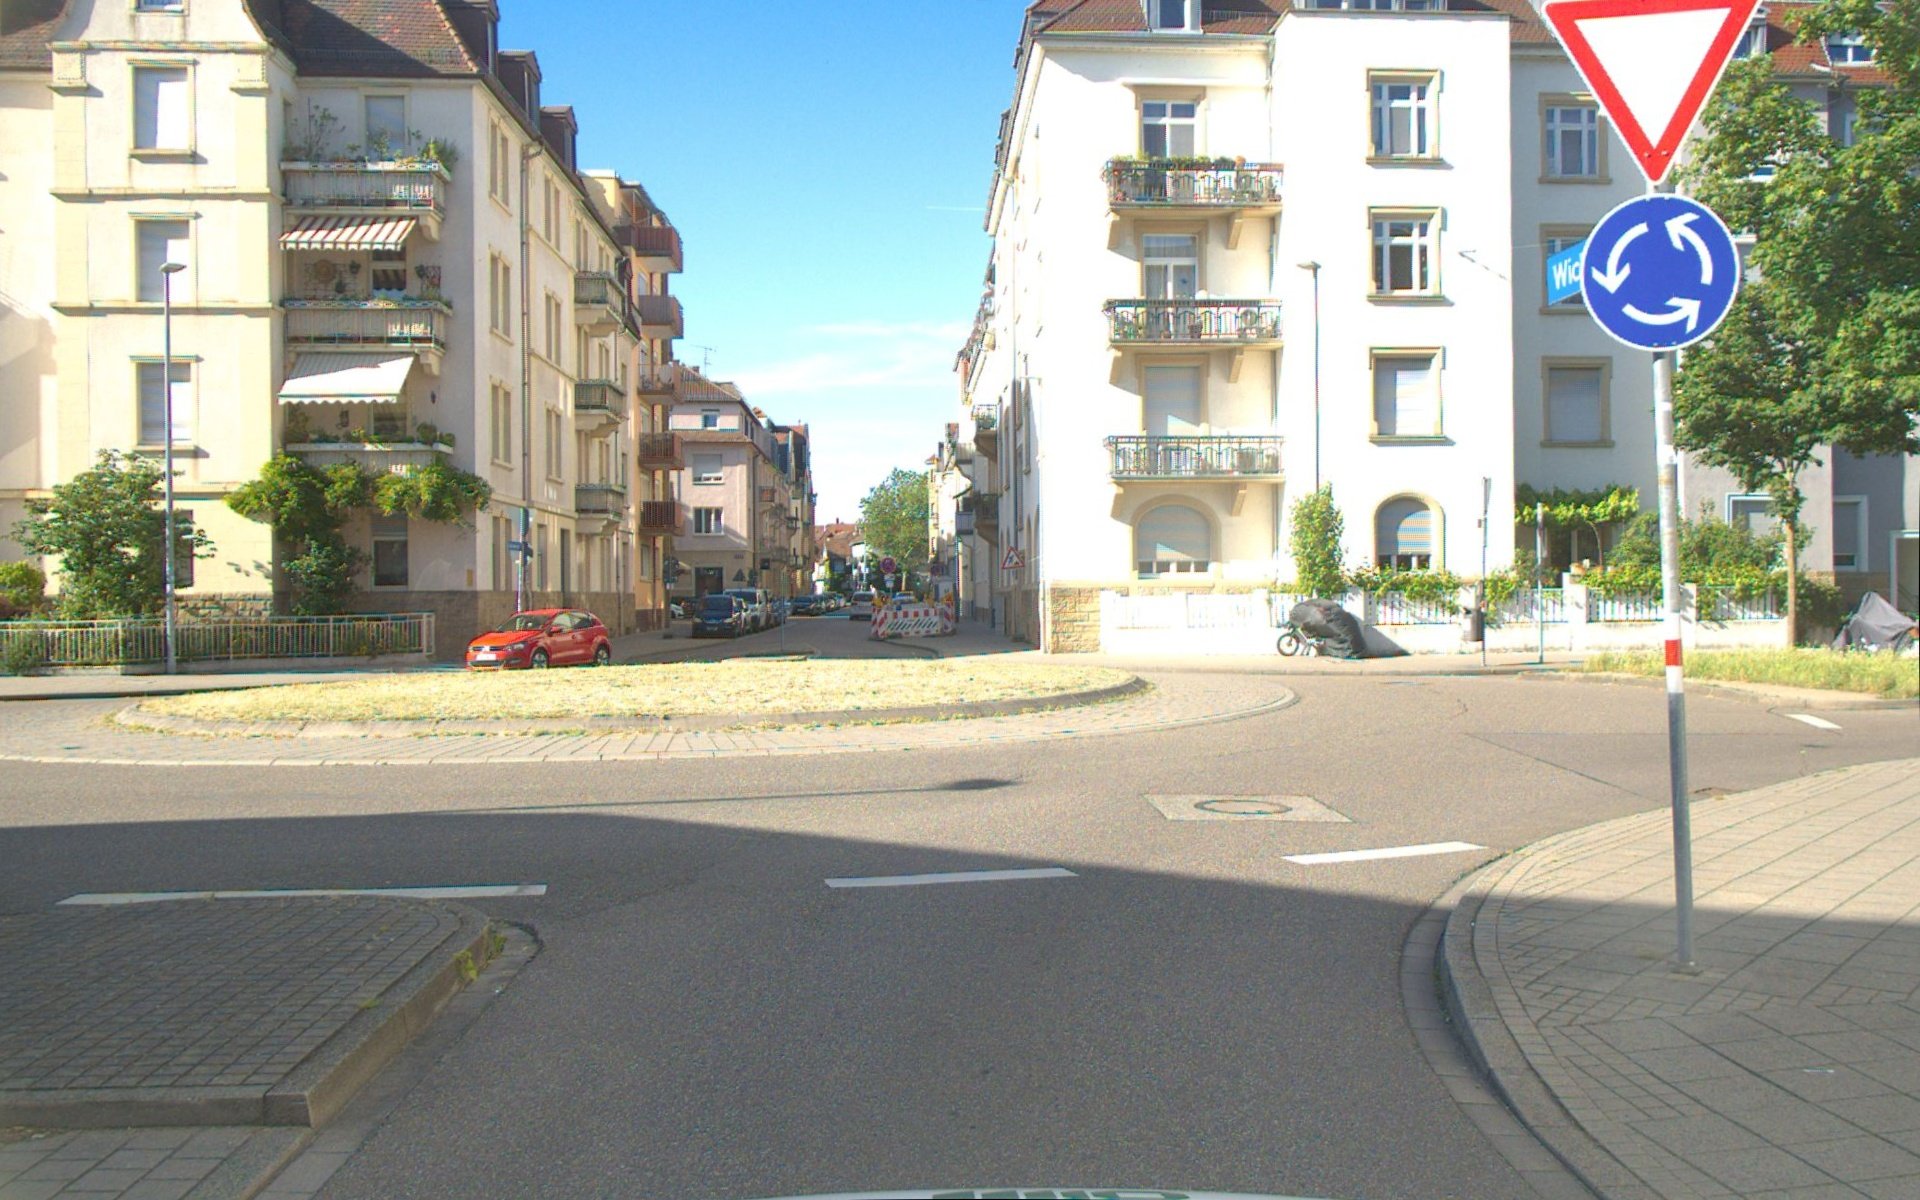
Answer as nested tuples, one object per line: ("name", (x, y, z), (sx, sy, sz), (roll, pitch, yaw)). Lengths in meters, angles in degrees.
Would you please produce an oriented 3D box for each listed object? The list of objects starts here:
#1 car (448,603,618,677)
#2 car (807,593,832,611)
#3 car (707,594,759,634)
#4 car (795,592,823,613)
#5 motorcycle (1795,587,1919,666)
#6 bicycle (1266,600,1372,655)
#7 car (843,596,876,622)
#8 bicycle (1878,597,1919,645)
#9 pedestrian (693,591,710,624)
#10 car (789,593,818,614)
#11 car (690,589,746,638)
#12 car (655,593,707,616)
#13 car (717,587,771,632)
("car", (-9.425, 0.852, 36.841), (1.676, 1.406, 4.002), (-2, 1, 19))
("car", (-12.386, 0.190, 145.986), (1.939, 1.508, 4.325), (2, -1, -3))
("car", (-9.466, 0.559, 69.210), (1.727, 1.649, 4.293), (0, 0, -3))
("car", (-11.833, 0.213, 129.730), (1.964, 1.610, 4.484), (2, -1, -3))
("motorcycle", (15.715, 0.426, 28.331), (1.102, 1.290, 2.778), (-1, 0, -9))
("bicycle", (8.025, 0.605, 37.018), (2.244, 1.178, 0.762), (0, 0, 40))
("car", (-6.072, 0.538, 100.319), (1.801, 1.456, 4.027), (-2, -1, -2))
("bicycle", (22.404, 0.458, 38.061), (2.204, 1.078, 0.682), (-1, 0, -2))
("pedestrian", (-14.769, 0.414, 94.468), (0.906, 1.849, 0.993), (0, 0, -6))
("car", (-11.269, 0.291, 119.267), (1.645, 1.451, 4.273), (2, -1, -1))
("car", (-9.278, 0.504, 63.676), (1.727, 1.802, 4.292), (0, 0, -3))
("car", (-18.445, 0.289, 109.141), (3.472, 1.464, 1.693), (1, 1, 44))
("car", (-9.731, 0.409, 74.798), (1.936, 1.959, 5.306), (0, 0, -3))
